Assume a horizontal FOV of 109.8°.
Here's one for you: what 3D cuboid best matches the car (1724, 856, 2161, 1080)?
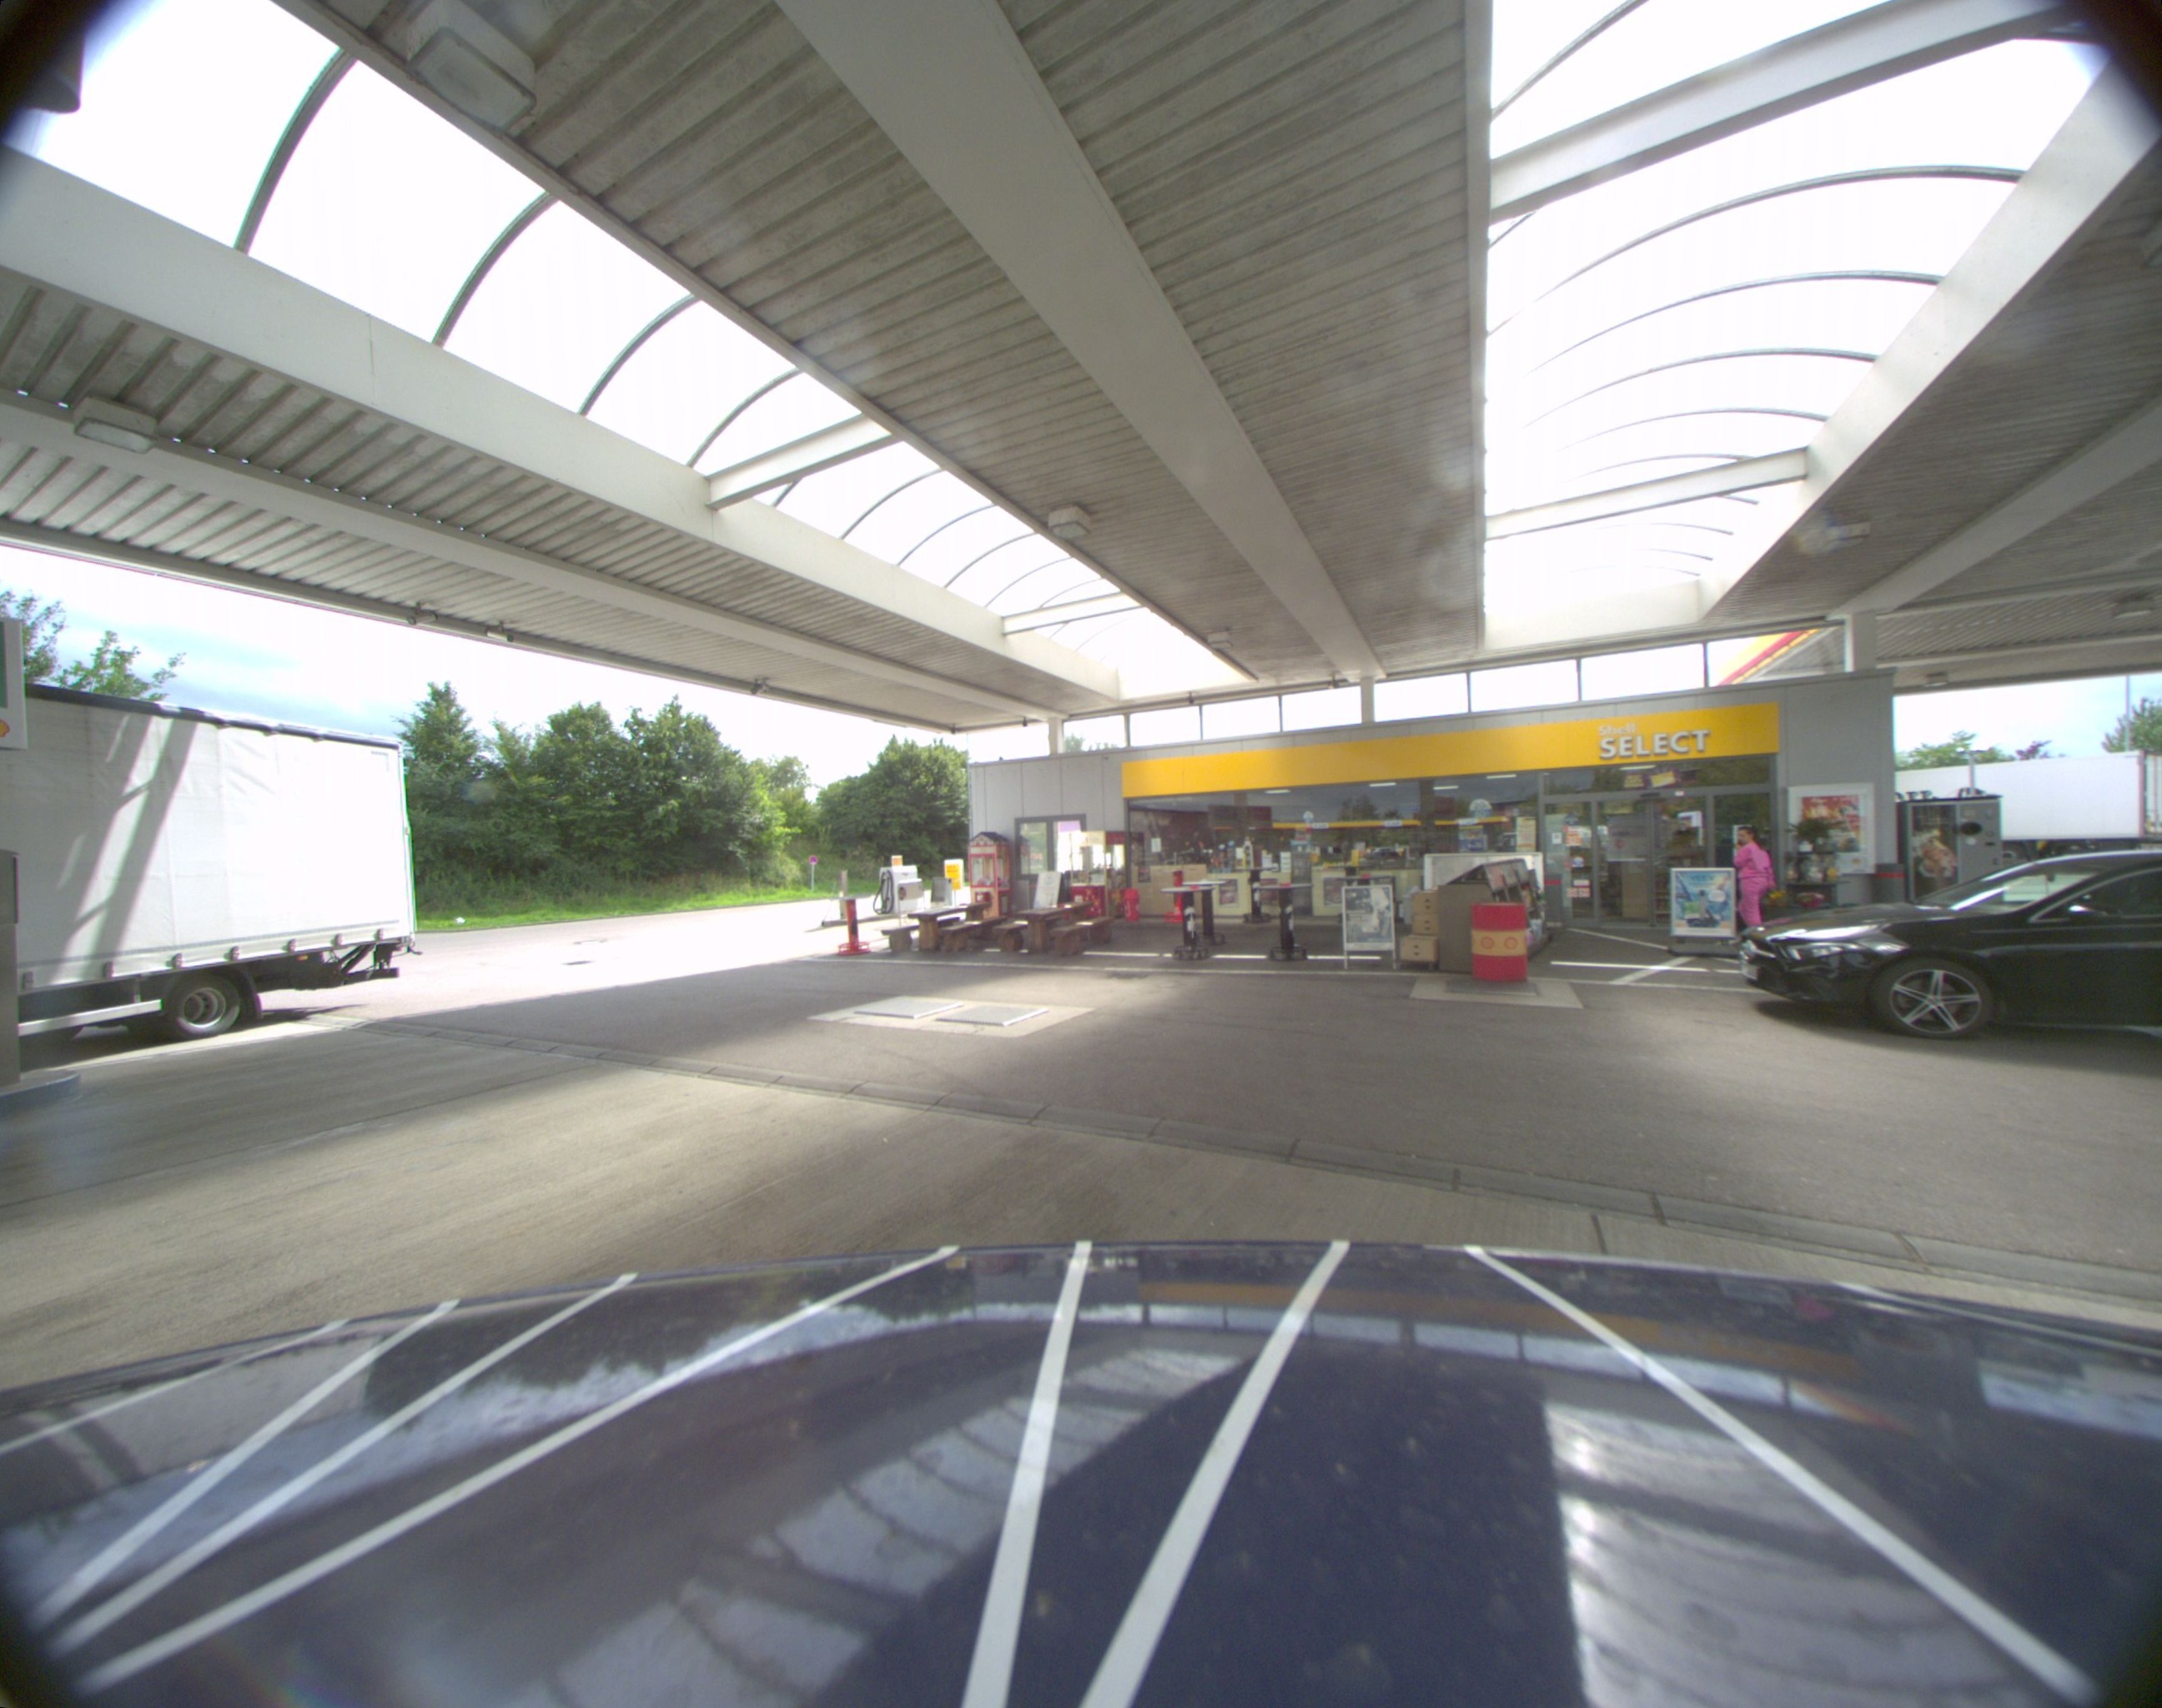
[{"bbox_3d":[8.171,0.809,5.979,4.461,1.491,1.782,-2,1,28],"label":"car"}]

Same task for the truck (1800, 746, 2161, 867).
[{"bbox_3d":[35.134,-1.620,30.068,2.796,3.982,9.578,-3,1,-16],"label":"truck"}]

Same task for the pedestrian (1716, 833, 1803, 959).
[{"bbox_3d":[9.517,0.574,10.673,0.627,1.703,0.622,-2,1,0],"label":"pedestrian"}]

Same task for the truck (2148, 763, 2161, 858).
[{"bbox_3d":[51.482,-2.049,33.150,3.383,4.479,6.239,-2,1,29],"label":"truck"}]
